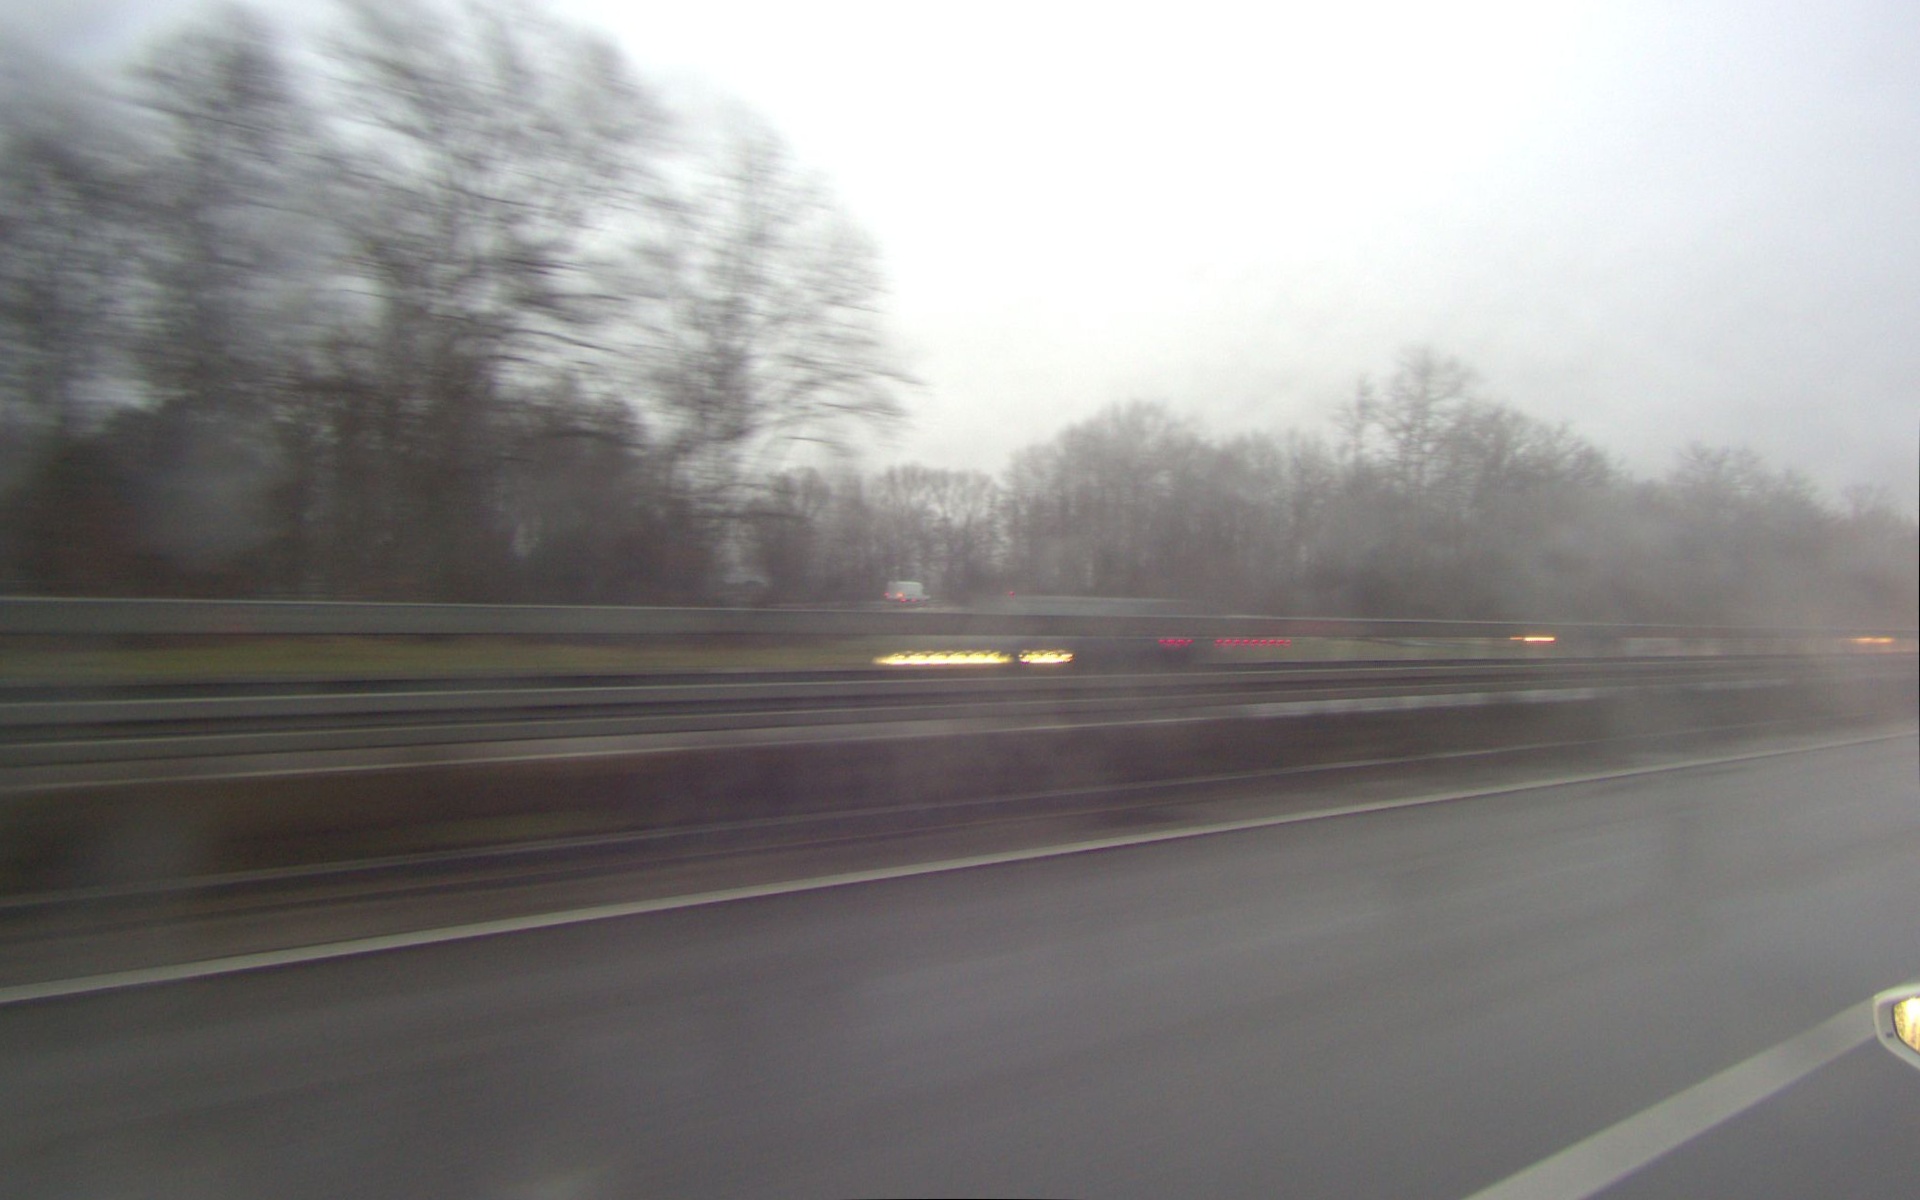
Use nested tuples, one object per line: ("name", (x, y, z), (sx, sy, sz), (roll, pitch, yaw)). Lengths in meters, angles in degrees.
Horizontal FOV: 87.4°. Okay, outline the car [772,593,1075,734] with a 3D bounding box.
("car", (-0.413, 0.726, 12.361), (3.392, 1.519, 1.551), (2, 0, -32))
